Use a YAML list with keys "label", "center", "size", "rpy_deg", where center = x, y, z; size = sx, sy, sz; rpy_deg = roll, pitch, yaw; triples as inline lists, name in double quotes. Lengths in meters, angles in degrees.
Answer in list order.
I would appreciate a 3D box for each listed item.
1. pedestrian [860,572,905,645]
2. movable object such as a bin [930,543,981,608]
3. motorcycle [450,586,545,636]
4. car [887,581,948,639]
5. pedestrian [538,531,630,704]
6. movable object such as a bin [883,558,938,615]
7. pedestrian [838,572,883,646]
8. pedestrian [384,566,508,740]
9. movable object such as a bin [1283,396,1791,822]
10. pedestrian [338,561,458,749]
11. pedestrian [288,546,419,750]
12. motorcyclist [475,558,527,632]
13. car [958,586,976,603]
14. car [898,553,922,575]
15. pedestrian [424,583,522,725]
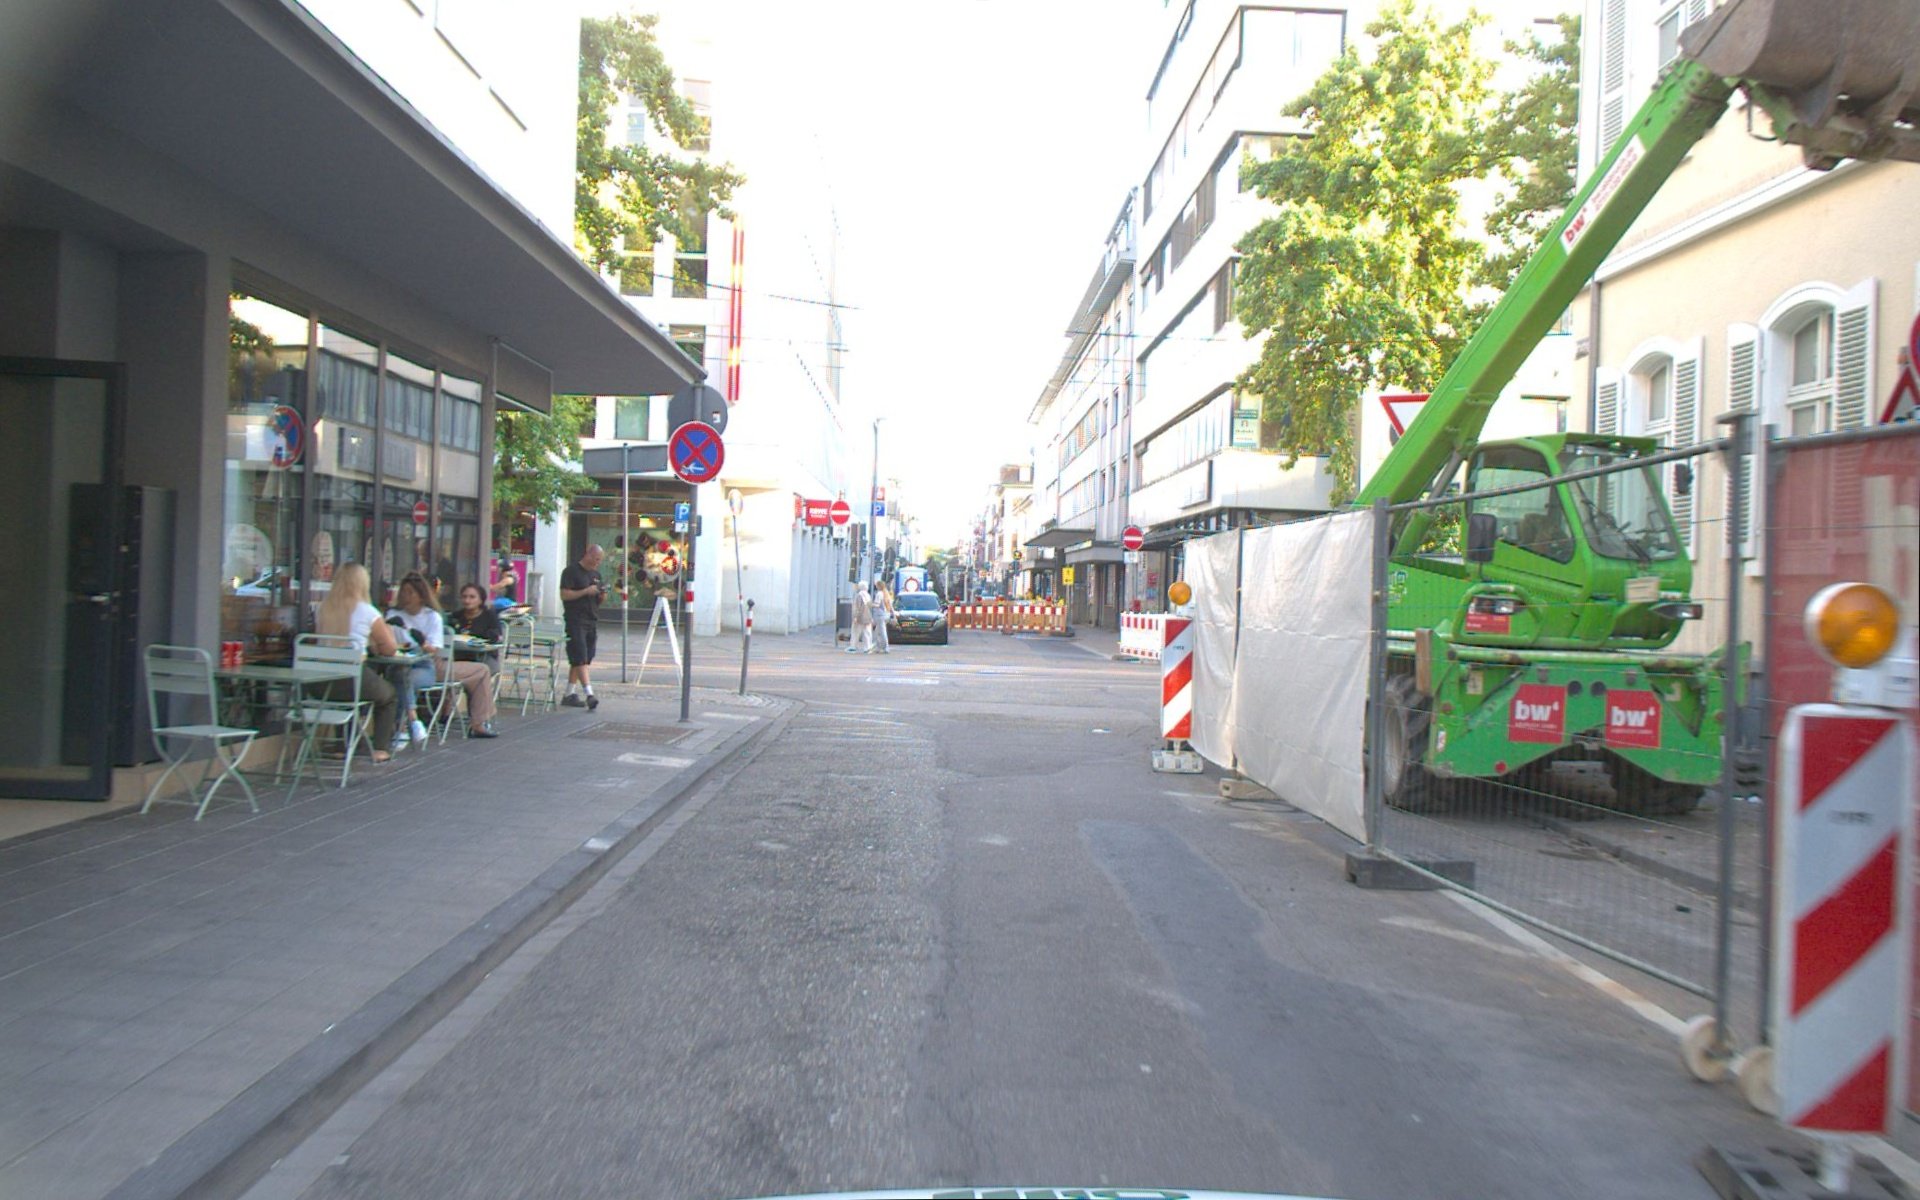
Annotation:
- label: "pedestrian"
  center: [-1.790, 0.194, 38.219]
  size: [0.607, 1.656, 0.858]
  rpy_deg: [0, 1, -45]
- label: "movable object such as a bin"
  center: [-0.239, -1.051, 72.706]
  size: [2.113, 2.710, 4.572]
  rpy_deg: [1, 1, -1]
- label: "motorcycle"
  center: [-9.054, 0.211, 32.407]
  size: [1.722, 0.935, 0.640]
  rpy_deg: [1, 0, -11]
- label: "car"
  center: [-1.249, 0.260, 47.310]
  size: [1.597, 1.577, 3.140]
  rpy_deg: [1, 1, -4]
- label: "pedestrian"
  center: [-3.806, 0.174, 16.743]
  size: [0.495, 1.696, 0.686]
  rpy_deg: [3, 0, 31]
- label: "movable object such as a bin"
  center: [-1.848, -0.526, 62.607]
  size: [1.953, 2.049, 4.000]
  rpy_deg: [1, 1, 0]
- label: "pedestrian"
  center: [-2.266, 0.195, 37.724]
  size: [0.607, 1.656, 0.858]
  rpy_deg: [0, 1, -45]
- label: "pedestrian"
  center: [-4.039, 0.399, 13.039]
  size: [0.688, 1.297, 0.713]
  rpy_deg: [3, 1, -1]
- label: "movable object such as a bin"
  center: [4.382, 0.036, 13.541]
  size: [2.552, 2.888, 4.449]
  rpy_deg: [1, 1, -1]
- label: "pedestrian"
  center: [-4.079, 0.385, 12.042]
  size: [0.561, 1.297, 0.713]
  rpy_deg: [3, 1, -1]
- label: "pedestrian"
  center: [-4.083, 0.308, 11.168]
  size: [0.561, 1.297, 0.713]
  rpy_deg: [3, 1, -1]
- label: "motorcyclist"
  center: [-8.992, -0.096, 32.429]
  size: [0.878, 1.412, 0.670]
  rpy_deg: [1, 0, -11]
- label: "car"
  center: [0.830, -0.654, 186.403]
  size: [1.953, 1.807, 4.000]
  rpy_deg: [1, 1, -1]
- label: "car"
  center: [-4.275, -3.083, 142.218]
  size: [1.953, 1.807, 4.000]
  rpy_deg: [1, 1, -1]
- label: "pedestrian"
  center: [-4.078, 0.439, 13.886]
  size: [0.561, 1.133, 0.713]
  rpy_deg: [3, 1, -1]
